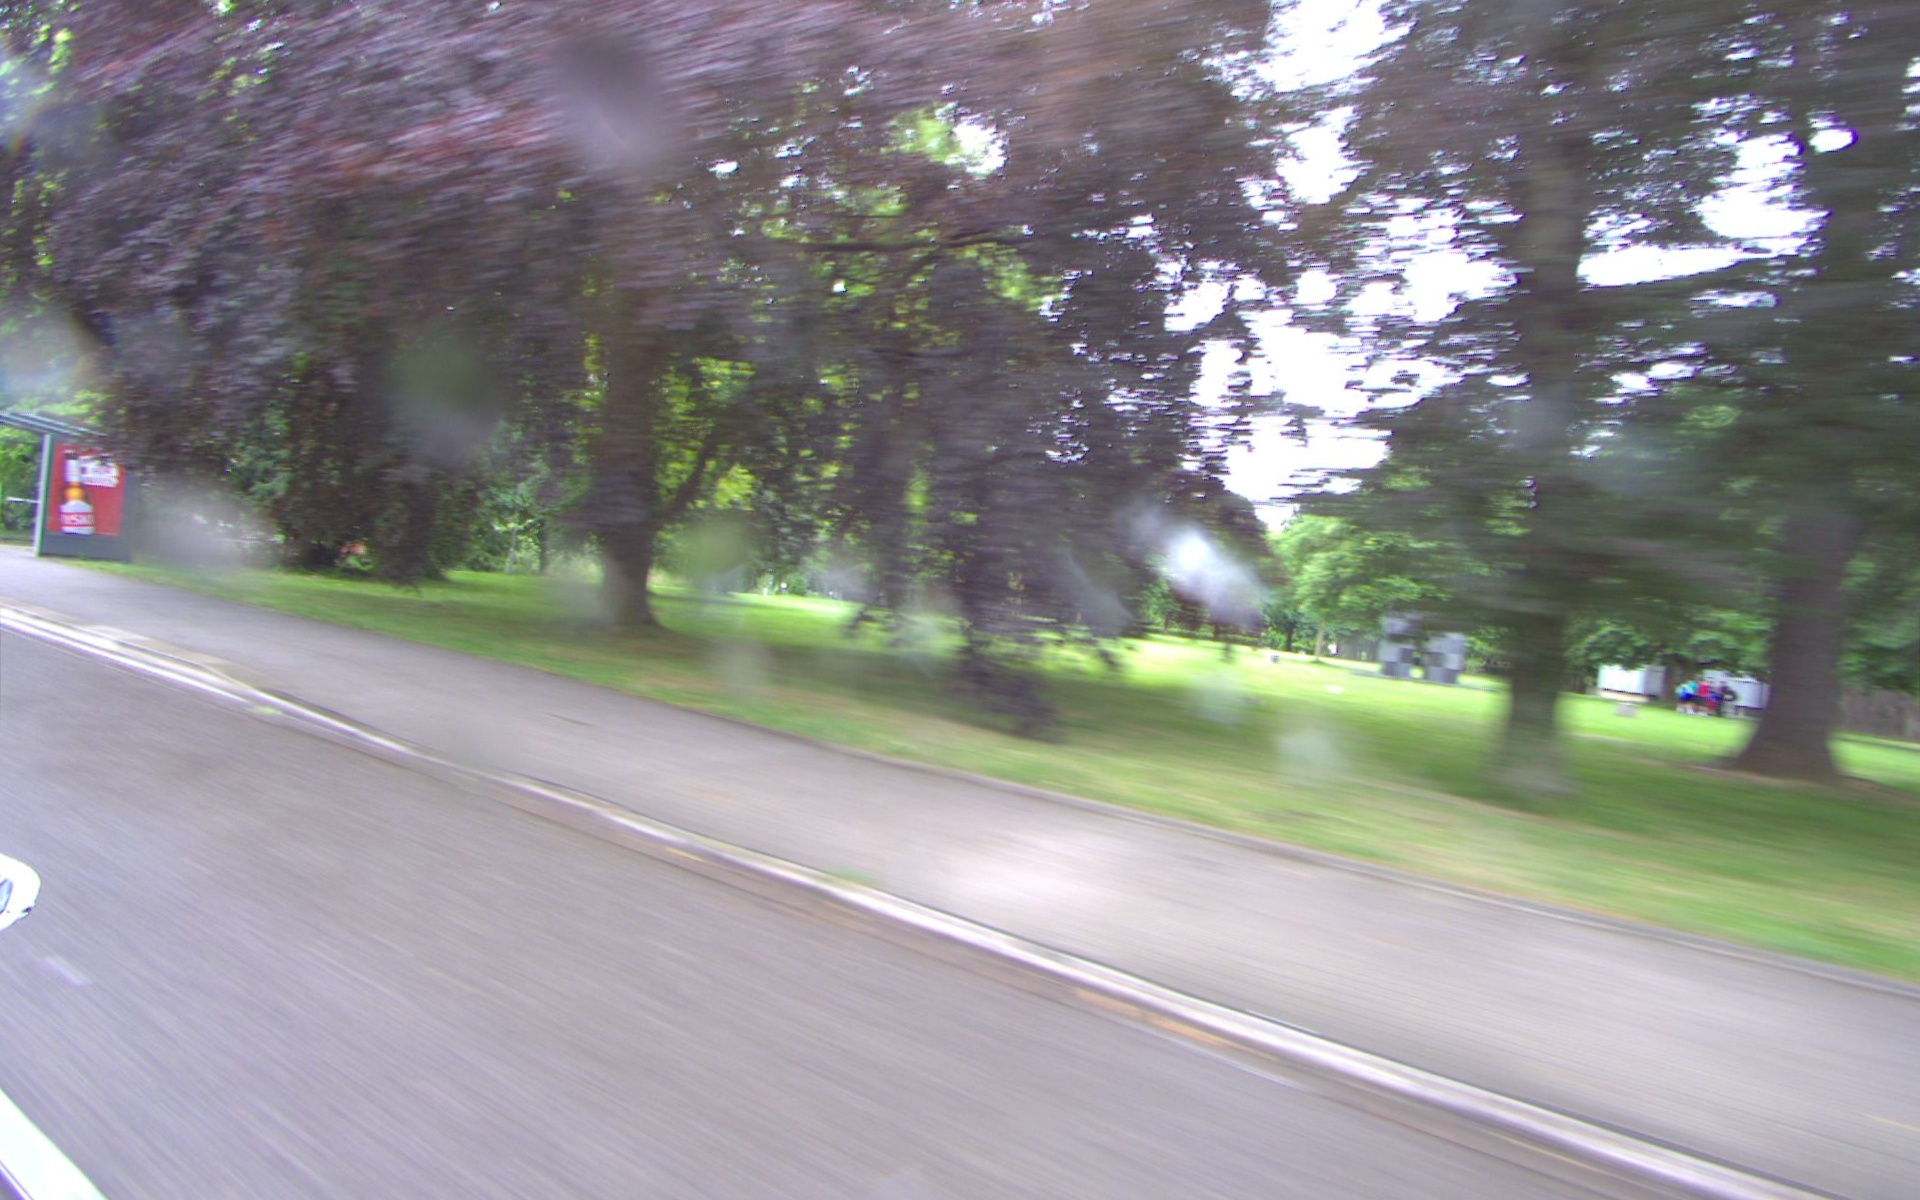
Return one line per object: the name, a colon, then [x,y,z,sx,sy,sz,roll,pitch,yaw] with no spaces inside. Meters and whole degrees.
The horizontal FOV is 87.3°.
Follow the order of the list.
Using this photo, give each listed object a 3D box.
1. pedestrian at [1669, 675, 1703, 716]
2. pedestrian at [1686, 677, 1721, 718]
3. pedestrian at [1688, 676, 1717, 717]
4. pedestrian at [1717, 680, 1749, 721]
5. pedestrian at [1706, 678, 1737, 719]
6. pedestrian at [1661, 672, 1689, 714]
pedestrian: [34.189,4.478,47.384,0.845,1.783,0.838,8,-2,-17]
pedestrian: [35.130,4.614,47.560,0.842,1.783,0.841,7,-2,-2]
pedestrian: [34.026,4.415,46.125,0.758,1.783,0.841,6,-2,26]
pedestrian: [35.934,4.657,46.757,0.825,1.783,0.773,7,-2,19]
pedestrian: [34.987,4.528,46.217,0.843,1.783,0.841,6,-2,26]
pedestrian: [33.318,4.334,46.864,0.829,1.783,0.855,6,-2,42]
